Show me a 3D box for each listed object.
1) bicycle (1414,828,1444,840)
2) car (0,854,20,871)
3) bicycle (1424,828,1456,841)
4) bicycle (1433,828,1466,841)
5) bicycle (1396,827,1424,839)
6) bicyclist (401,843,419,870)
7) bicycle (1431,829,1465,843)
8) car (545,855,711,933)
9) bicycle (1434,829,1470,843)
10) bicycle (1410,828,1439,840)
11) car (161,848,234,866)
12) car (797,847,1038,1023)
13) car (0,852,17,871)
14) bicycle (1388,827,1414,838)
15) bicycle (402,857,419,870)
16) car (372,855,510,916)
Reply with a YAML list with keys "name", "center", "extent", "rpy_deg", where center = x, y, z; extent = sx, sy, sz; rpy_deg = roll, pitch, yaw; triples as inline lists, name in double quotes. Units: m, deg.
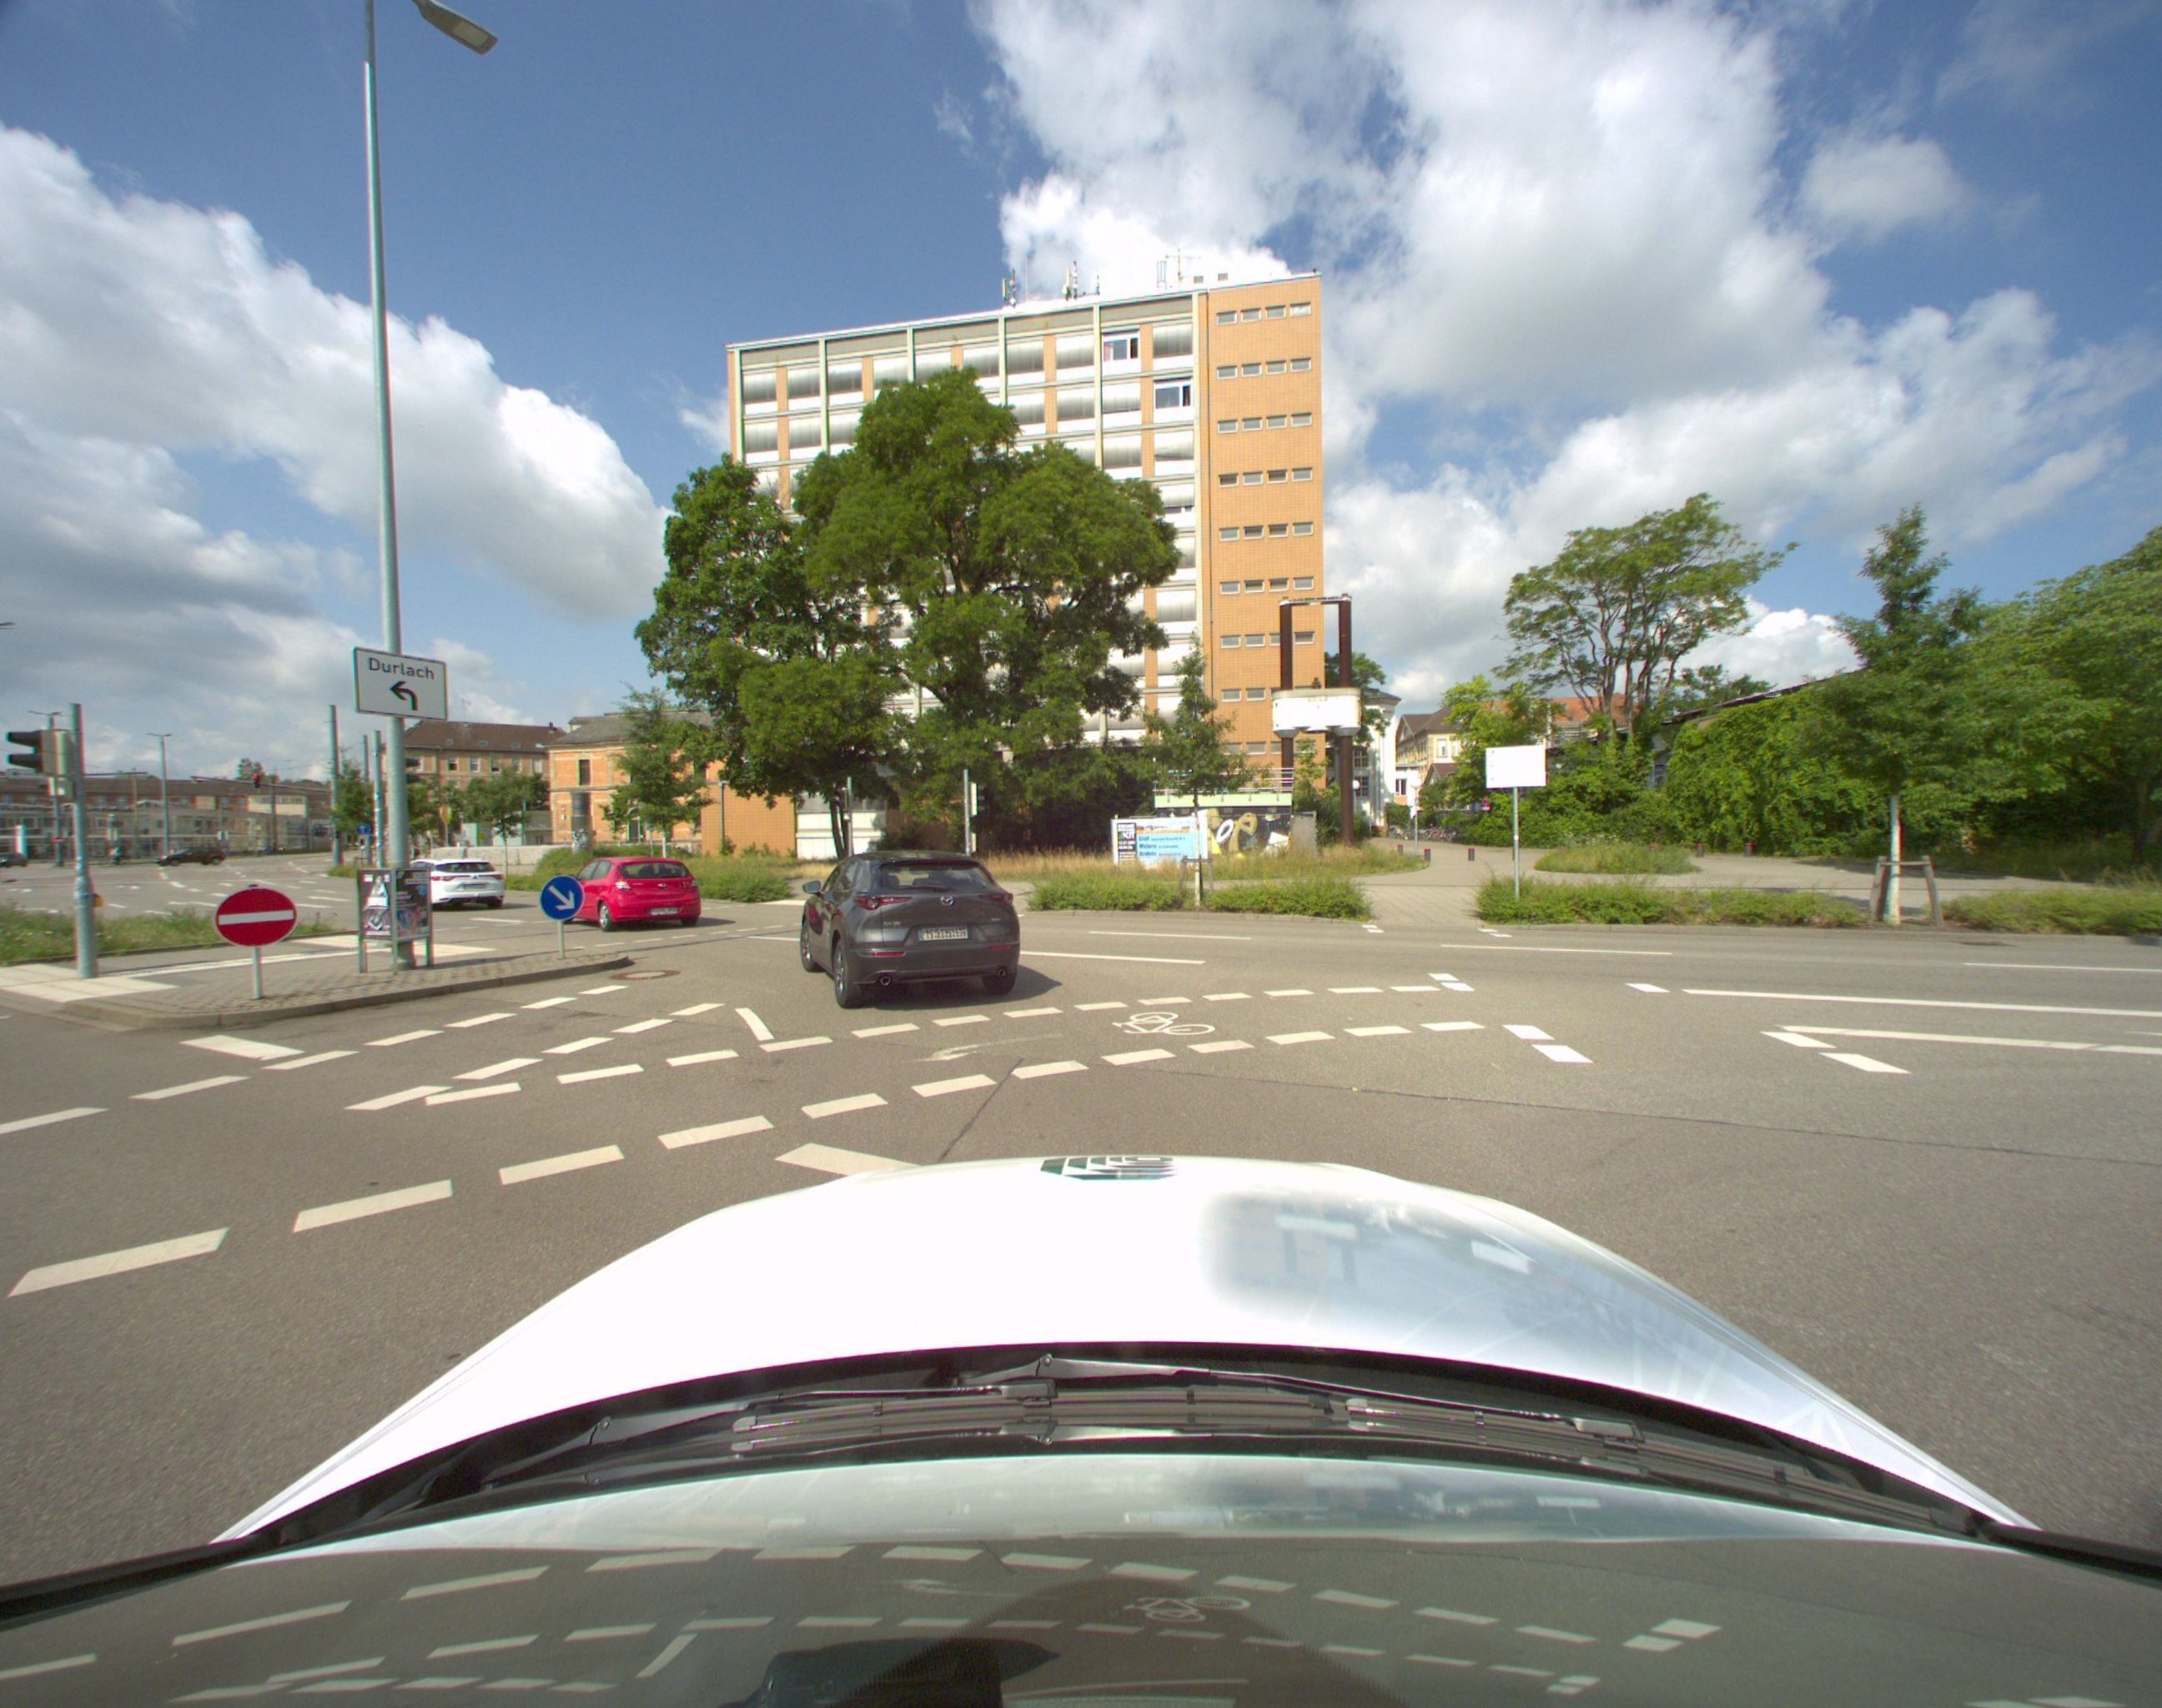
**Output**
- name: "bicycle"
  center: [27.404, -1.592, 64.179]
  extent: [2.042, 0.936, 0.806]
  rpy_deg: [-1, 1, 10]
- name: "car"
  center: [-100.165, 0.800, 75.101]
  extent: [2.011, 1.530, 3.953]
  rpy_deg: [-2, 2, -40]
- name: "bicycle"
  center: [26.795, -1.467, 60.786]
  extent: [2.042, 0.936, 0.806]
  rpy_deg: [-1, 1, 10]
- name: "bicycle"
  center: [26.845, -1.410, 59.404]
  extent: [2.042, 0.936, 0.806]
  rpy_deg: [-1, 1, 10]
- name: "bicycle"
  center: [27.867, -1.776, 68.960]
  extent: [2.042, 0.936, 0.806]
  rpy_deg: [-1, 1, 10]
- name: "bicyclist"
  center: [-45.130, 0.160, 54.763]
  extent: [0.953, 1.701, 0.743]
  rpy_deg: [0, 3, 41]
- name: "bicycle"
  center: [25.672, -1.235, 56.934]
  extent: [2.042, 0.936, 0.806]
  rpy_deg: [-1, 1, 10]
- name: "car"
  center: [-9.642, 0.759, 17.213]
  extent: [4.015, 1.439, 1.833]
  rpy_deg: [0, 0, 41]
- name: "bicycle"
  center: [25.232, -1.215, 55.410]
  extent: [2.042, 0.936, 0.806]
  rpy_deg: [-1, 1, 10]
- name: "bicycle"
  center: [27.502, -1.632, 65.212]
  extent: [2.042, 0.936, 0.806]
  rpy_deg: [-1, 1, 10]
- name: "car"
  center: [-80.643, 0.239, 74.426]
  extent: [1.792, 1.508, 4.103]
  rpy_deg: [0, 1, 22]
- name: "car"
  center: [-2.107, 0.703, 9.370]
  extent: [1.814, 1.508, 4.171]
  rpy_deg: [-1, 0, -24]
- name: "car"
  center: [-99.631, 0.717, 74.325]
  extent: [1.859, 1.719, 3.958]
  rpy_deg: [-2, 2, -34]
- name: "bicycle"
  center: [28.933, -1.949, 73.717]
  extent: [2.042, 0.936, 0.806]
  rpy_deg: [-1, 1, 10]
- name: "bicycle"
  center: [-45.032, 0.639, 54.690]
  extent: [1.766, 0.810, 0.631]
  rpy_deg: [0, 3, 42]
- name: "car"
  center: [-18.067, 0.812, 22.927]
  extent: [4.279, 1.472, 1.866]
  rpy_deg: [0, 2, 35]
